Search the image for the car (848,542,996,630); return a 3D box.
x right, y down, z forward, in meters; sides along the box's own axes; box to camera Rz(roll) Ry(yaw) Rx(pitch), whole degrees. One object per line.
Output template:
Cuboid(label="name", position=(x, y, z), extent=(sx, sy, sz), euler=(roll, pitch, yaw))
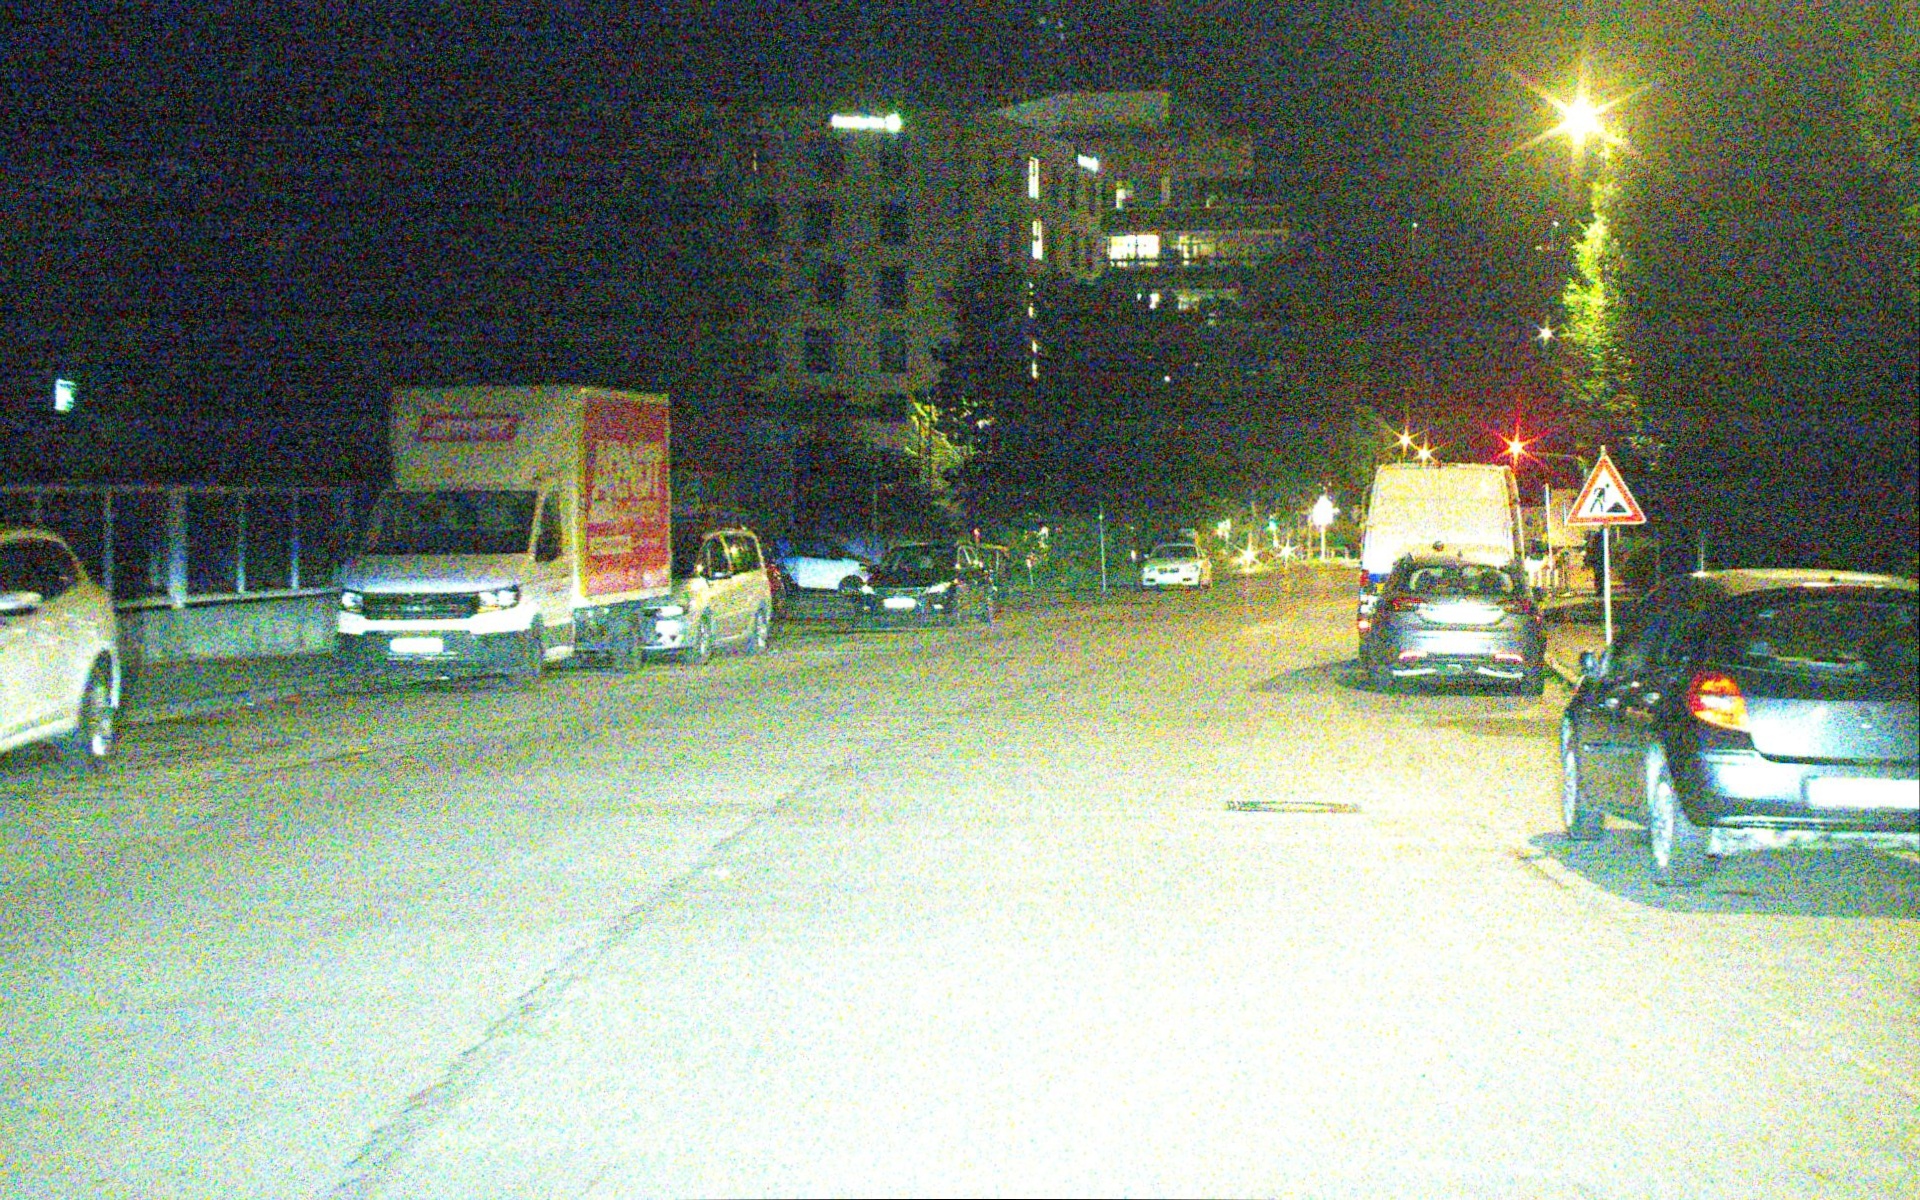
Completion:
Cuboid(label="car", position=(-0.652, -0.248, 62.517), extent=(1.756, 1.521, 4.320), euler=(1, 0, 12))

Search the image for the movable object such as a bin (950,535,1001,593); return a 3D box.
Cuboid(label="movable object such as a bin", position=(0.410, -0.940, 89.209), extent=(1.164, 1.490, 1.065), euler=(0, 1, 8))

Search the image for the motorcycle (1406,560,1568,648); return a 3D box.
Cuboid(label="motorcycle", position=(7.423, 0.043, 48.499), extent=(2.184, 1.179, 0.766), euler=(2, 1, 42))

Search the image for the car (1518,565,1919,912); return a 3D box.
Cuboid(label="car", position=(4.016, 0.599, 17.286), extent=(1.710, 1.503, 4.000), euler=(1, 1, -1))

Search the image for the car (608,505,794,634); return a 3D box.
Cuboid(label="car", position=(-4.903, -0.606, 65.833), extent=(1.995, 2.313, 4.963), euler=(-2, 1, 14))

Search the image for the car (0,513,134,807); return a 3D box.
Cuboid(label="car", position=(-6.757, 0.348, 21.564), extent=(1.993, 1.766, 4.692), euler=(0, 1, 0))

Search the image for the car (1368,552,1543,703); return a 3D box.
Cuboid(label="car", position=(5.296, 0.245, 37.152), extent=(1.711, 1.503, 4.639), euler=(0, 1, 6))

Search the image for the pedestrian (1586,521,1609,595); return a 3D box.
Cuboid(label="pedestrian", position=(15.989, -1.044, 86.212), extent=(0.570, 1.846, 0.819), euler=(0, 1, 11))

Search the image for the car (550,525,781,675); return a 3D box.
Cuboid(label="car", position=(-3.736, -0.039, 44.467), extent=(1.830, 1.810, 4.837), euler=(-1, 1, 9))

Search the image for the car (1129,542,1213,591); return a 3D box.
Cuboid(label="car", position=(6.260, -1.004, 101.729), extent=(1.912, 1.399, 4.336), euler=(-1, 1, 11))

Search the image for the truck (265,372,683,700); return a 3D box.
Cuboid(label="truck", position=(-5.169, -0.700, 38.032), extent=(2.544, 3.269, 7.310), euler=(0, 1, 9))

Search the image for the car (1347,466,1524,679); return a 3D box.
Cuboid(label="car", position=(6.187, -0.391, 44.194), extent=(2.021, 2.518, 6.049), euler=(1, 1, 10))

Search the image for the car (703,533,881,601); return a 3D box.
Cuboid(label="car", position=(-4.054, -0.806, 83.271), extent=(3.989, 1.565, 1.816), euler=(-1, 1, 11))
